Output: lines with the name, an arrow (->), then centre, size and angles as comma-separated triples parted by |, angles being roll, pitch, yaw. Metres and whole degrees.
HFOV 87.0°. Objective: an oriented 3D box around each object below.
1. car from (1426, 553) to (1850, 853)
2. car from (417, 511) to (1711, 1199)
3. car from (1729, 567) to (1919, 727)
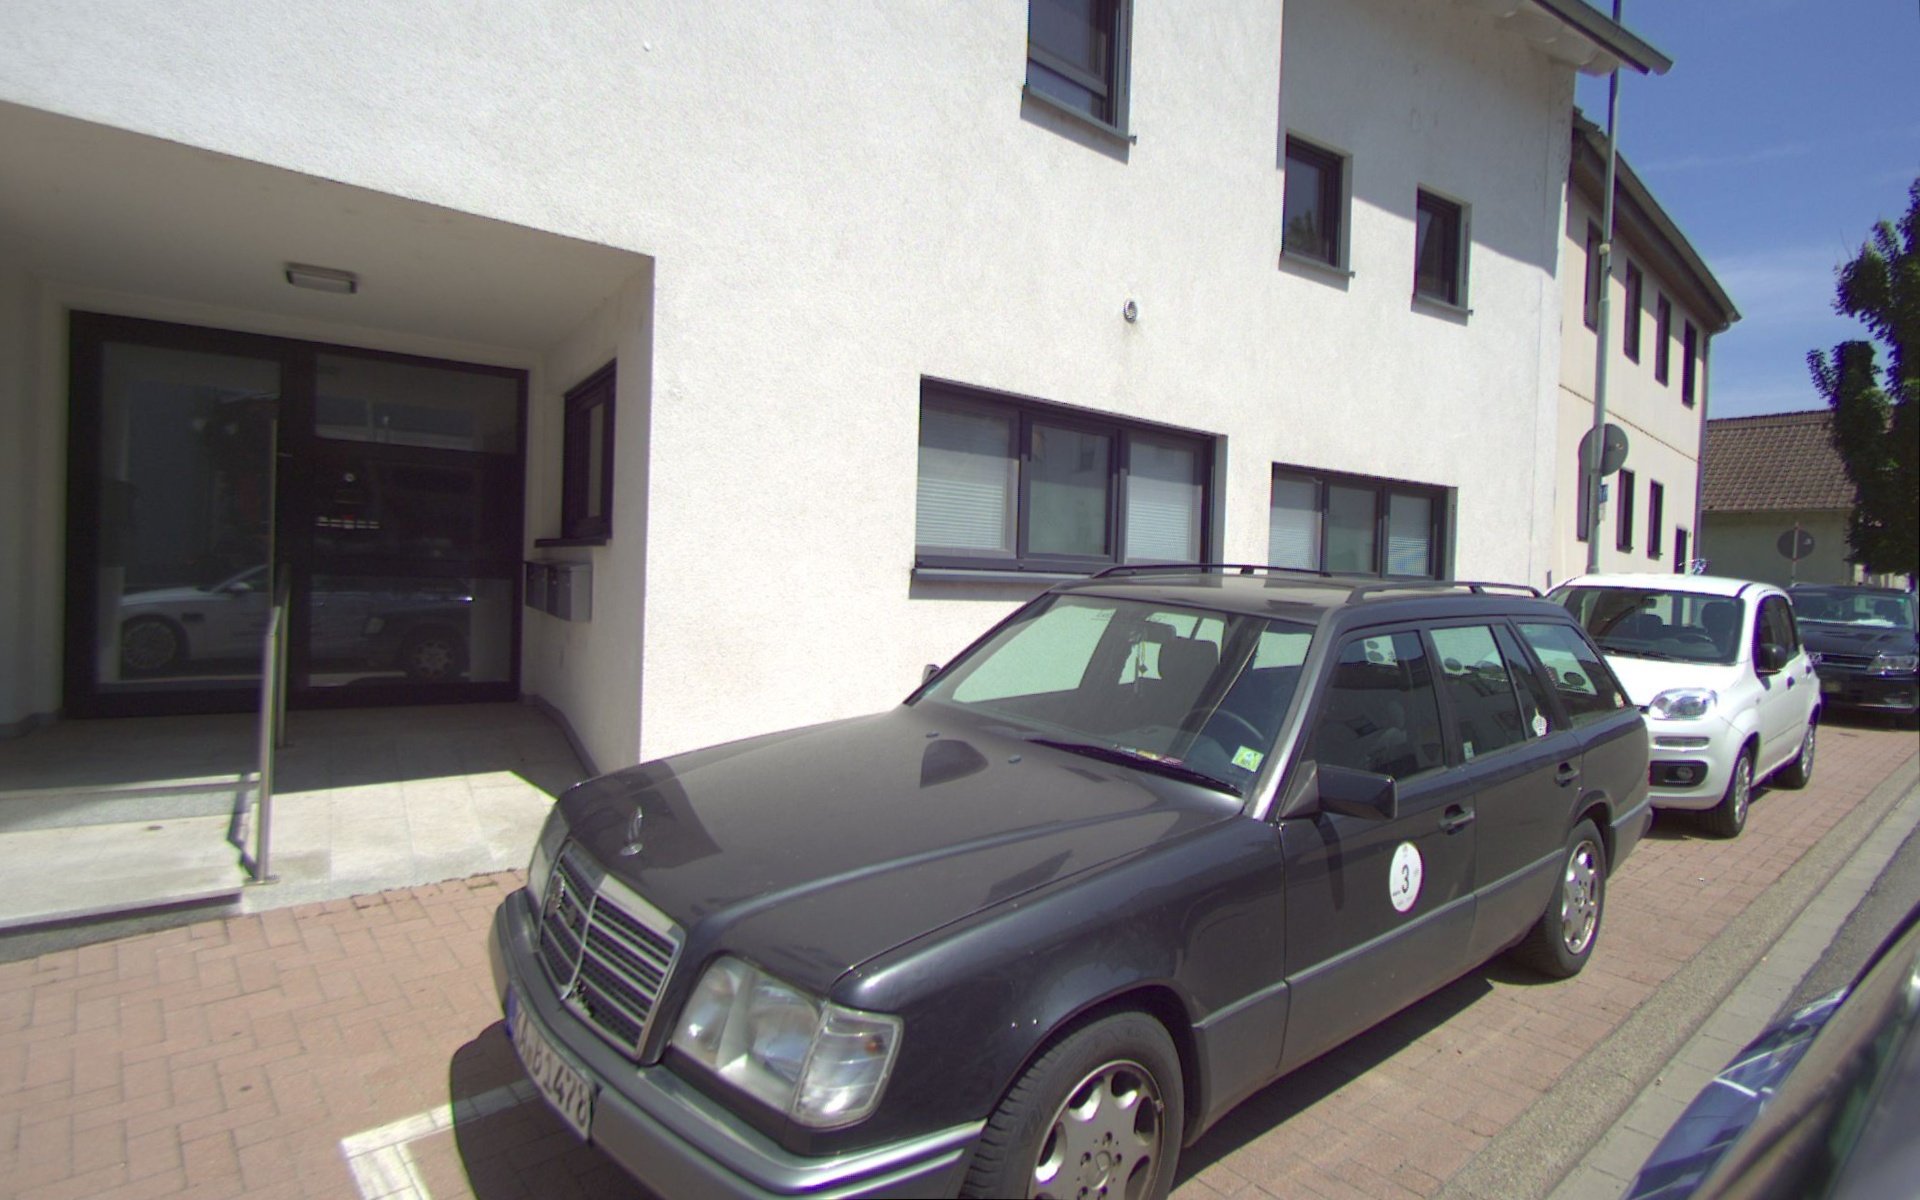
car -> 4.902, 0.521, 7.152 | 3.484, 1.540, 1.610 | 0, 4, -42
car -> 0.938, 0.564, 3.556 | 4.752, 1.464, 1.704 | 0, 4, -41
car -> 11.412, 0.514, 12.822 | 4.470, 1.634, 1.806 | 1, 3, -42
